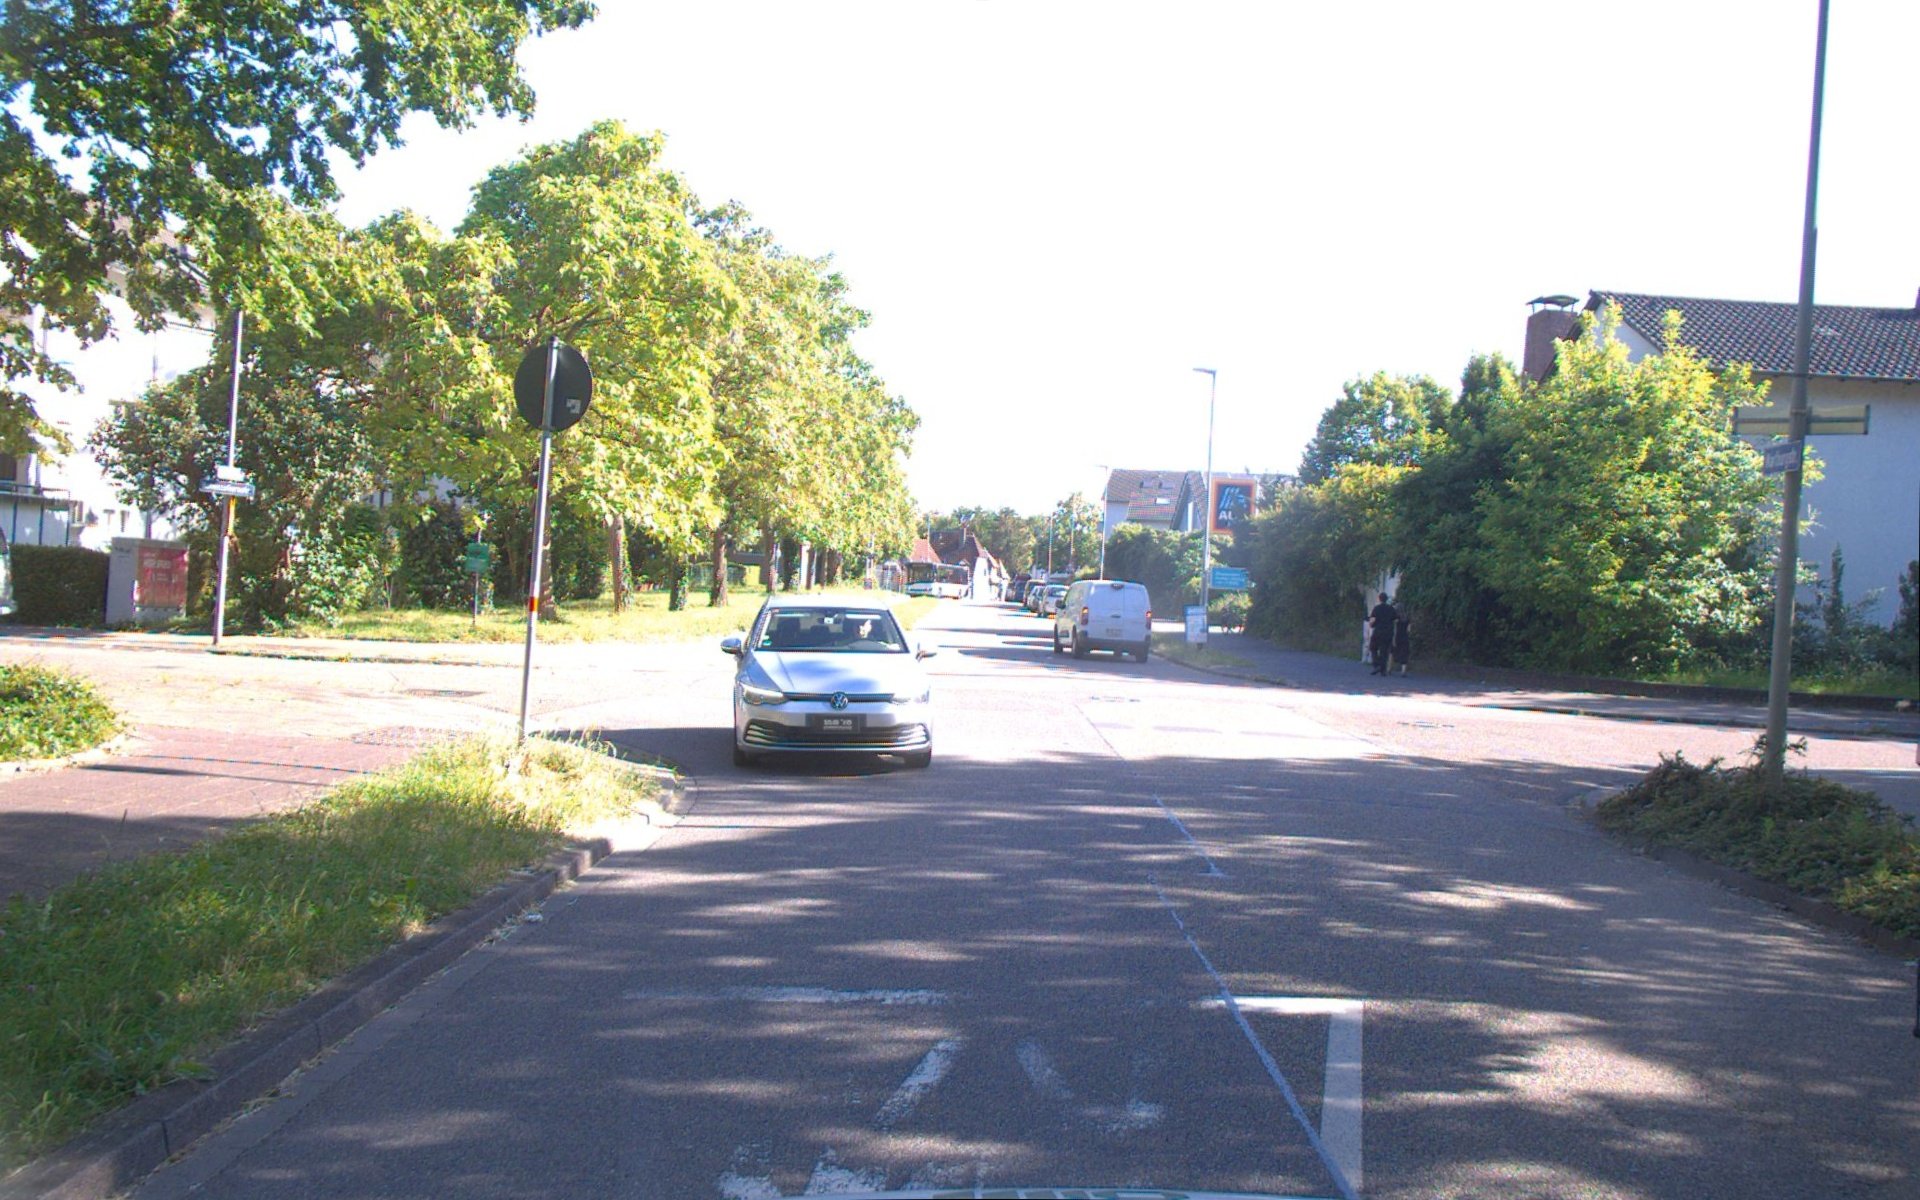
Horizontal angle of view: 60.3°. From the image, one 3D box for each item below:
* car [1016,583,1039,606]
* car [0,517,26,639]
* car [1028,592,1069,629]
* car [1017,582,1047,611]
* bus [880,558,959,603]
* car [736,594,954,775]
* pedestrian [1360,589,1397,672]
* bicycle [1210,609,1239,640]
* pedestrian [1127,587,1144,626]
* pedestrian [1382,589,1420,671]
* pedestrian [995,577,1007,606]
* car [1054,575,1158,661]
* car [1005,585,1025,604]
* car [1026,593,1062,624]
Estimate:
[{"bbox_3d":[5.570,-0.477,136.818,1.745,1.840,4.000,2,0,0],"label":"car"},{"bbox_3d":[-17.658,-0.398,26.834,4.024,1.998,1.678,1,0,1],"label":"car"},{"bbox_3d":[4.316,0.495,81.244,1.745,1.681,4.000,2,0,0],"label":"car"},{"bbox_3d":[4.788,-0.232,109.742,1.745,1.840,4.000,2,0,0],"label":"car"},{"bbox_3d":[-3.134,-1.512,132.375,3.978,3.407,9.808,2,0,12],"label":"bus"},{"bbox_3d":[-1.183,0.694,15.541,1.771,1.445,3.953,1,0,-7],"label":"car"},{"bbox_3d":[8.883,0.640,35.113,0.558,1.712,0.513,2,0,-3],"label":"pedestrian"},{"bbox_3d":[9.516,0.887,59.427,0.624,1.044,2.165,5,0,18],"label":"bicycle"},{"bbox_3d":[9.551,0.363,90.067,0.629,2.048,0.700,5,0,-7],"label":"pedestrian"},{"bbox_3d":[9.462,0.646,35.461,0.559,1.712,0.513,2,0,-9],"label":"pedestrian"},{"bbox_3d":[3.161,-0.614,126.626,0.737,2.149,0.799,5,0,3],"label":"pedestrian"},{"bbox_3d":[3.466,0.401,39.931,1.908,1.875,3.998,3,0,-2],"label":"car"},{"bbox_3d":[5.436,-0.560,163.156,1.745,1.840,4.000,2,0,0],"label":"car"},{"bbox_3d":[4.693,0.457,92.593,1.745,1.681,4.000,2,0,0],"label":"car"}]
